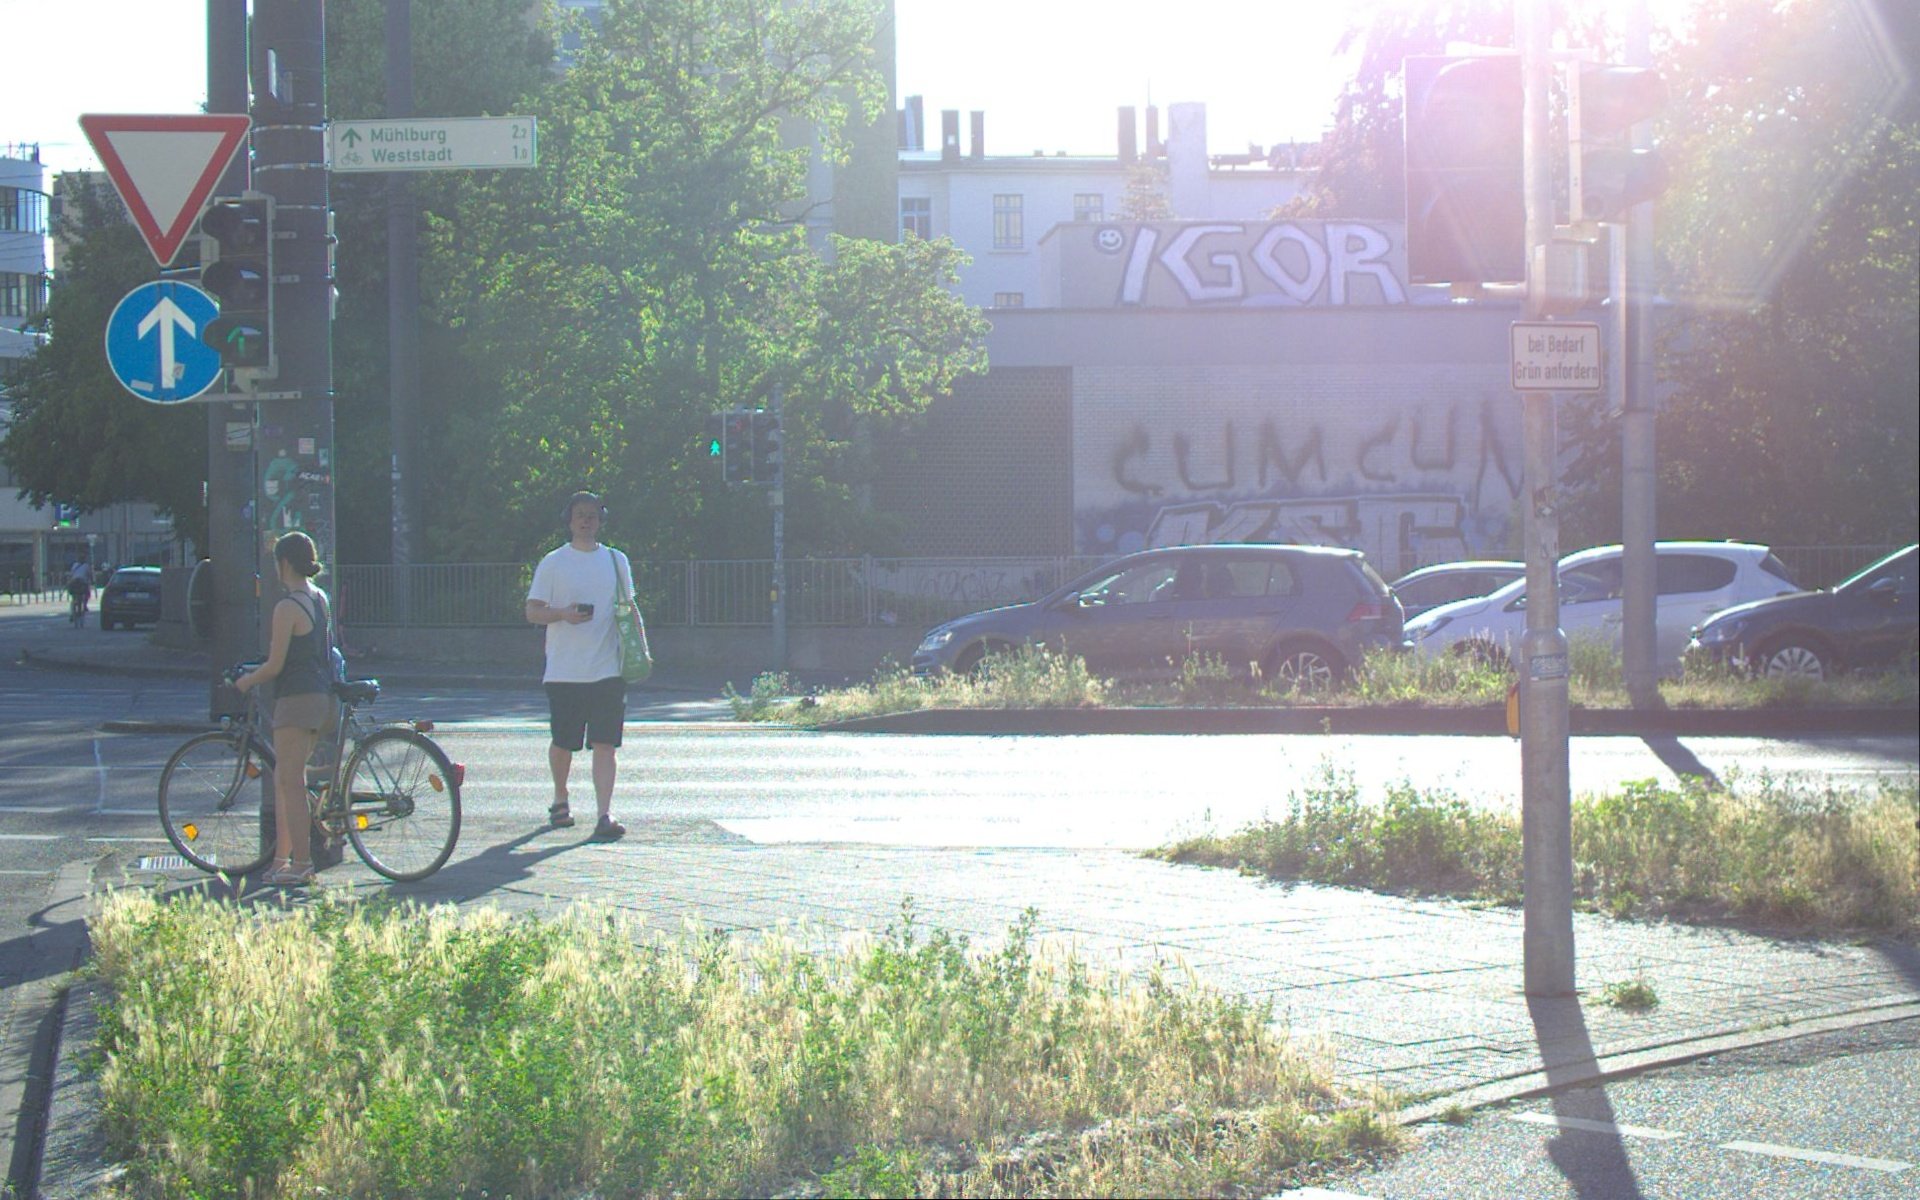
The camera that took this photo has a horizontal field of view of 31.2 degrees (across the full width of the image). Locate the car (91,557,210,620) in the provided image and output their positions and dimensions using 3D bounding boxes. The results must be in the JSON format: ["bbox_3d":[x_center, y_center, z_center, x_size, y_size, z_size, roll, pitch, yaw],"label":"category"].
[{"bbox_3d":[-18.347,-0.284,78.056,1.785,1.383,4.000,-1,1,-1],"label":"car"}]

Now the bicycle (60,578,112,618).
[{"bbox_3d":[-19.982,-0.050,78.627,0.695,0.874,2.027,-1,1,-1],"label":"bicycle"}]

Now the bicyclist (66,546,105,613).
[{"bbox_3d":[-19.993,-0.472,78.607,0.673,1.517,0.813,-1,1,-1],"label":"bicyclist"}]

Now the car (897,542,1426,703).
[{"bbox_3d":[1.735,0.184,29.138,4.237,1.292,1.723,0,1,13],"label":"car"}]

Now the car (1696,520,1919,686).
[{"bbox_3d":[8.143,0.002,27.557,4.364,1.292,1.723,-1,1,12],"label":"car"}]

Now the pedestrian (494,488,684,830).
[{"bbox_3d":[-2.000,0.303,18.466,0.908,1.783,0.827,-1,1,-12],"label":"pedestrian"}]

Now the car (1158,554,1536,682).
[{"bbox_3d":[4.134,0.183,36.443,3.883,1.292,1.724,-1,1,10],"label":"car"}]

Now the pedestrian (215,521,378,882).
[{"bbox_3d":[-3.053,0.455,15.843,0.524,1.626,0.488,0,1,30],"label":"pedestrian"}]

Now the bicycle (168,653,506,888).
[{"bbox_3d":[-2.889,0.767,15.863,1.669,1.025,0.399,0,1,31],"label":"bicycle"}]

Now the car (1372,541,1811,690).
[{"bbox_3d":[5.824,0.133,31.890,3.883,1.315,1.724,-1,1,10],"label":"car"}]
